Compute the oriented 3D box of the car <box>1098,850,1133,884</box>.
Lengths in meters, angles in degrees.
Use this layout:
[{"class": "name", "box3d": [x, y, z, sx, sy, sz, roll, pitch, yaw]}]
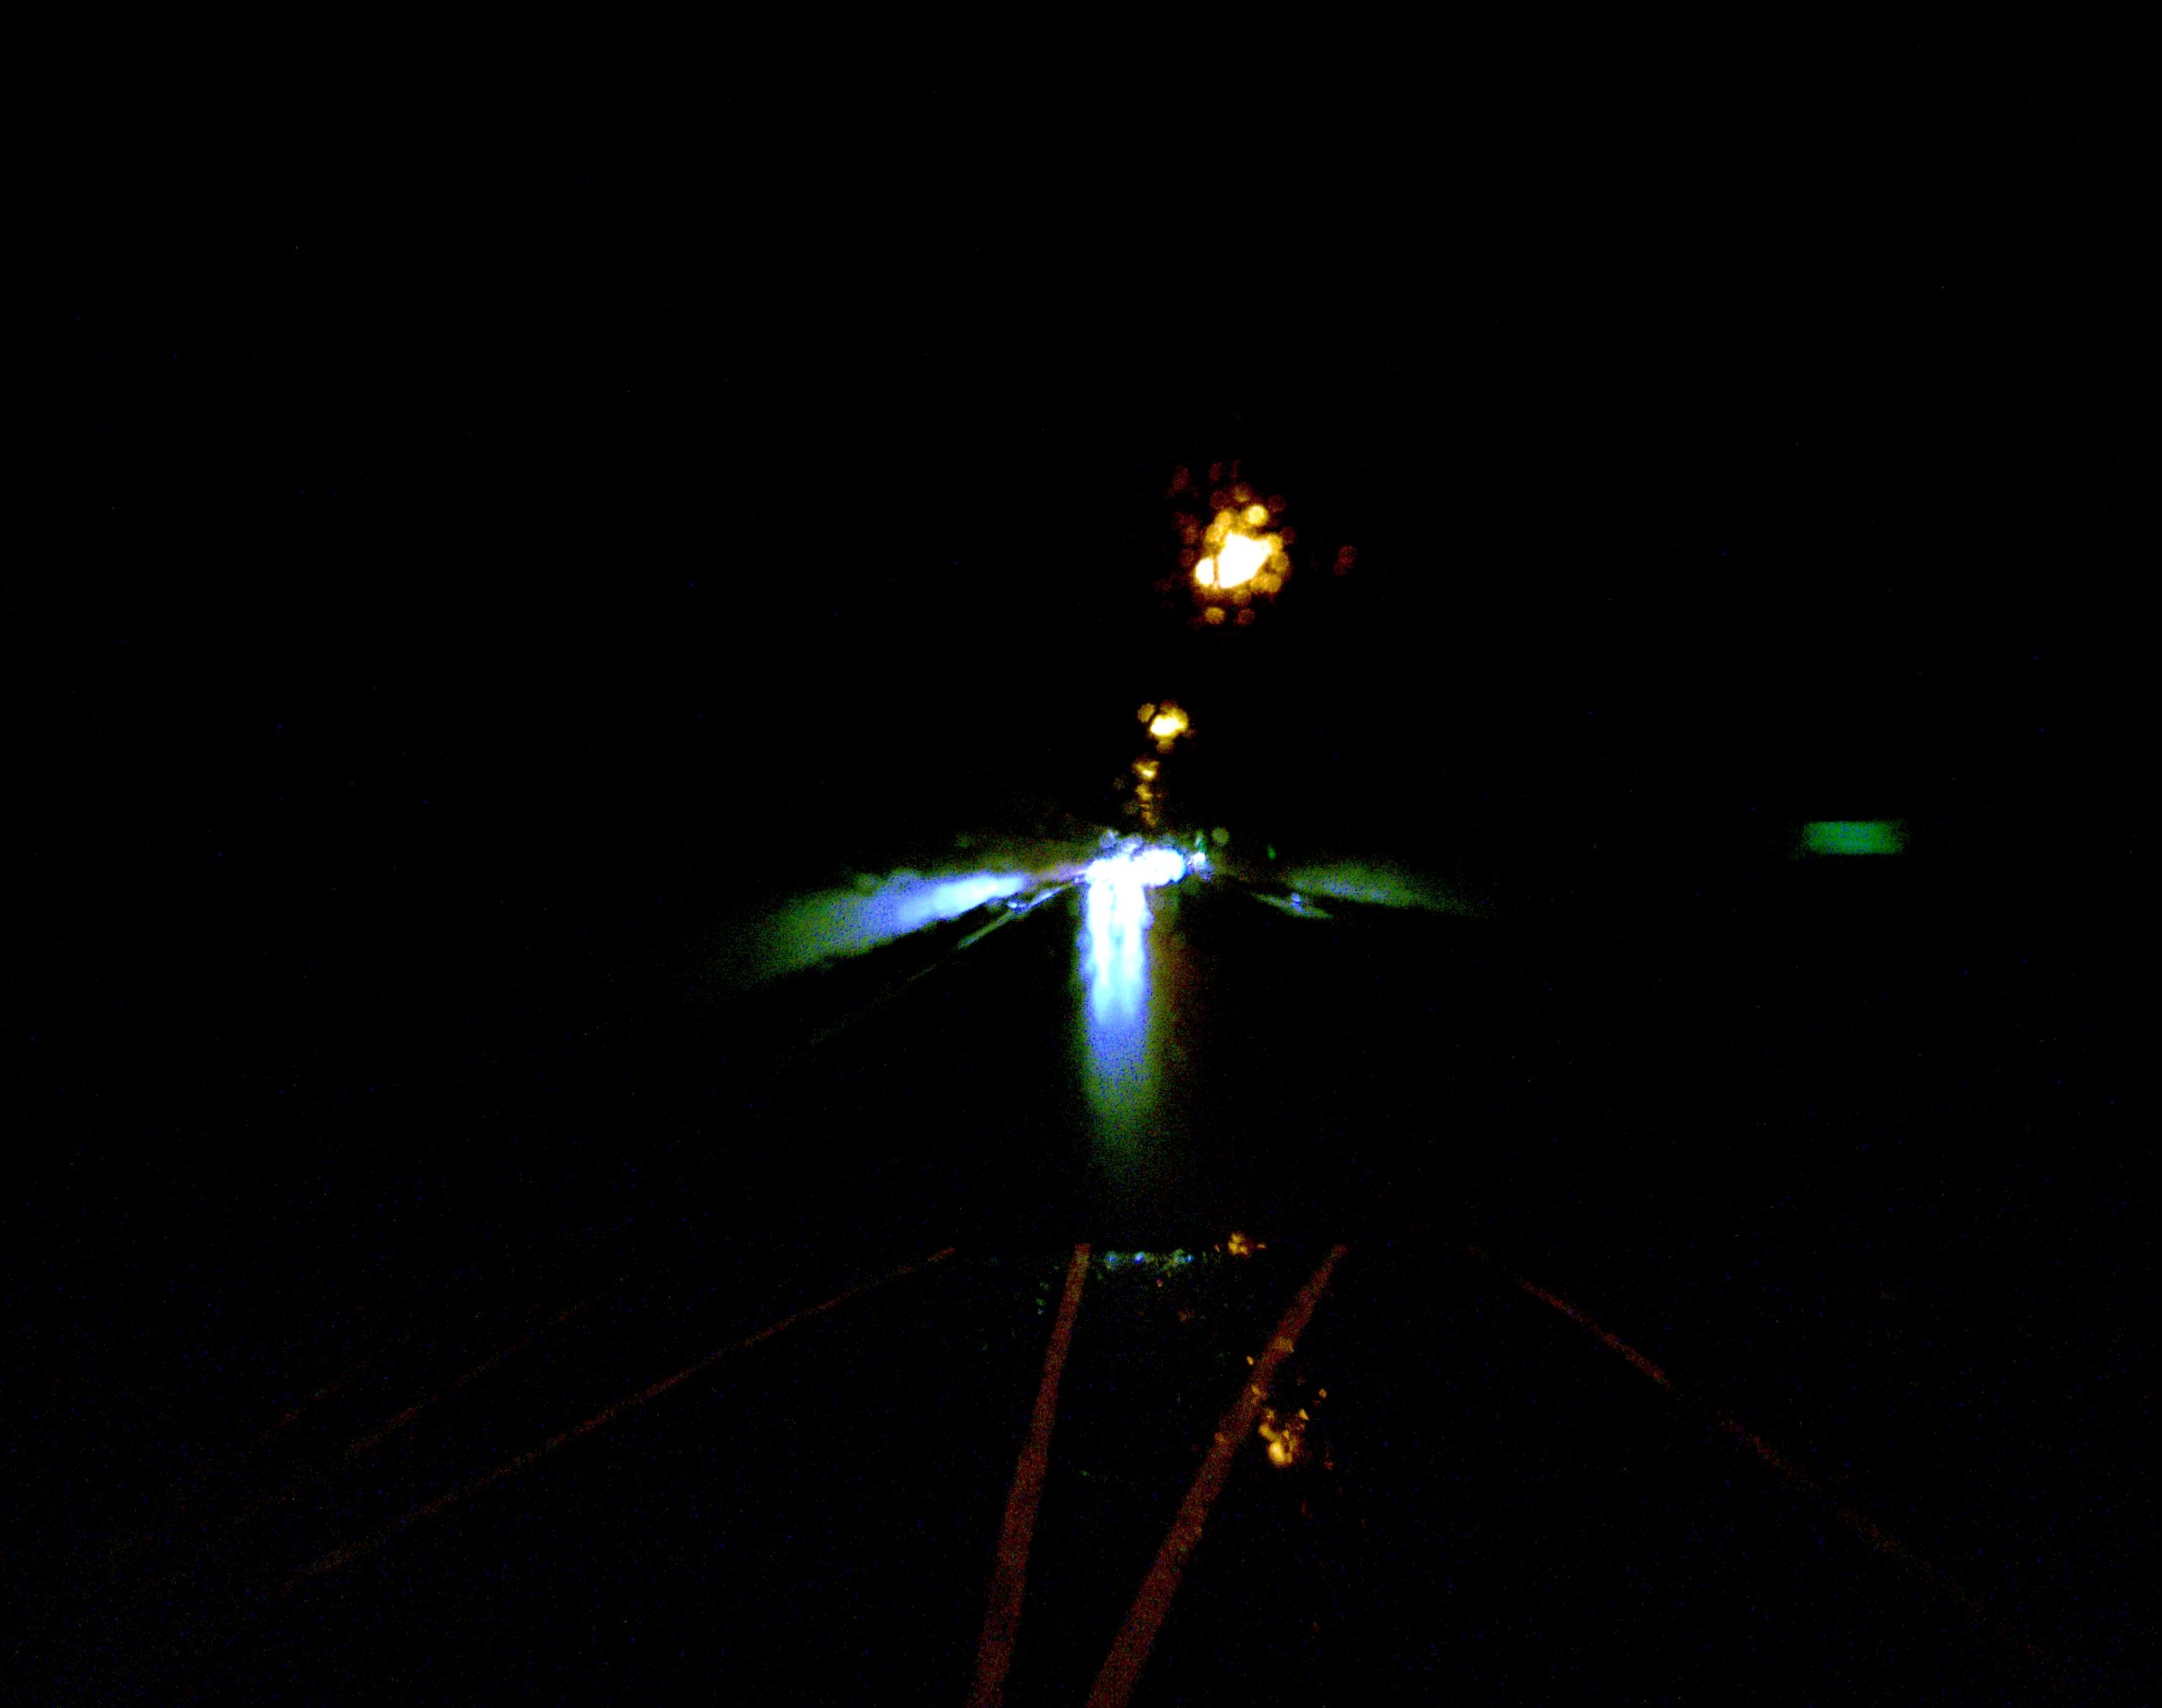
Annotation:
[{"class": "car", "box3d": [1.928, 0.674, 41.595, 1.729, 1.595, 4.001, -4, 1, 4]}]
